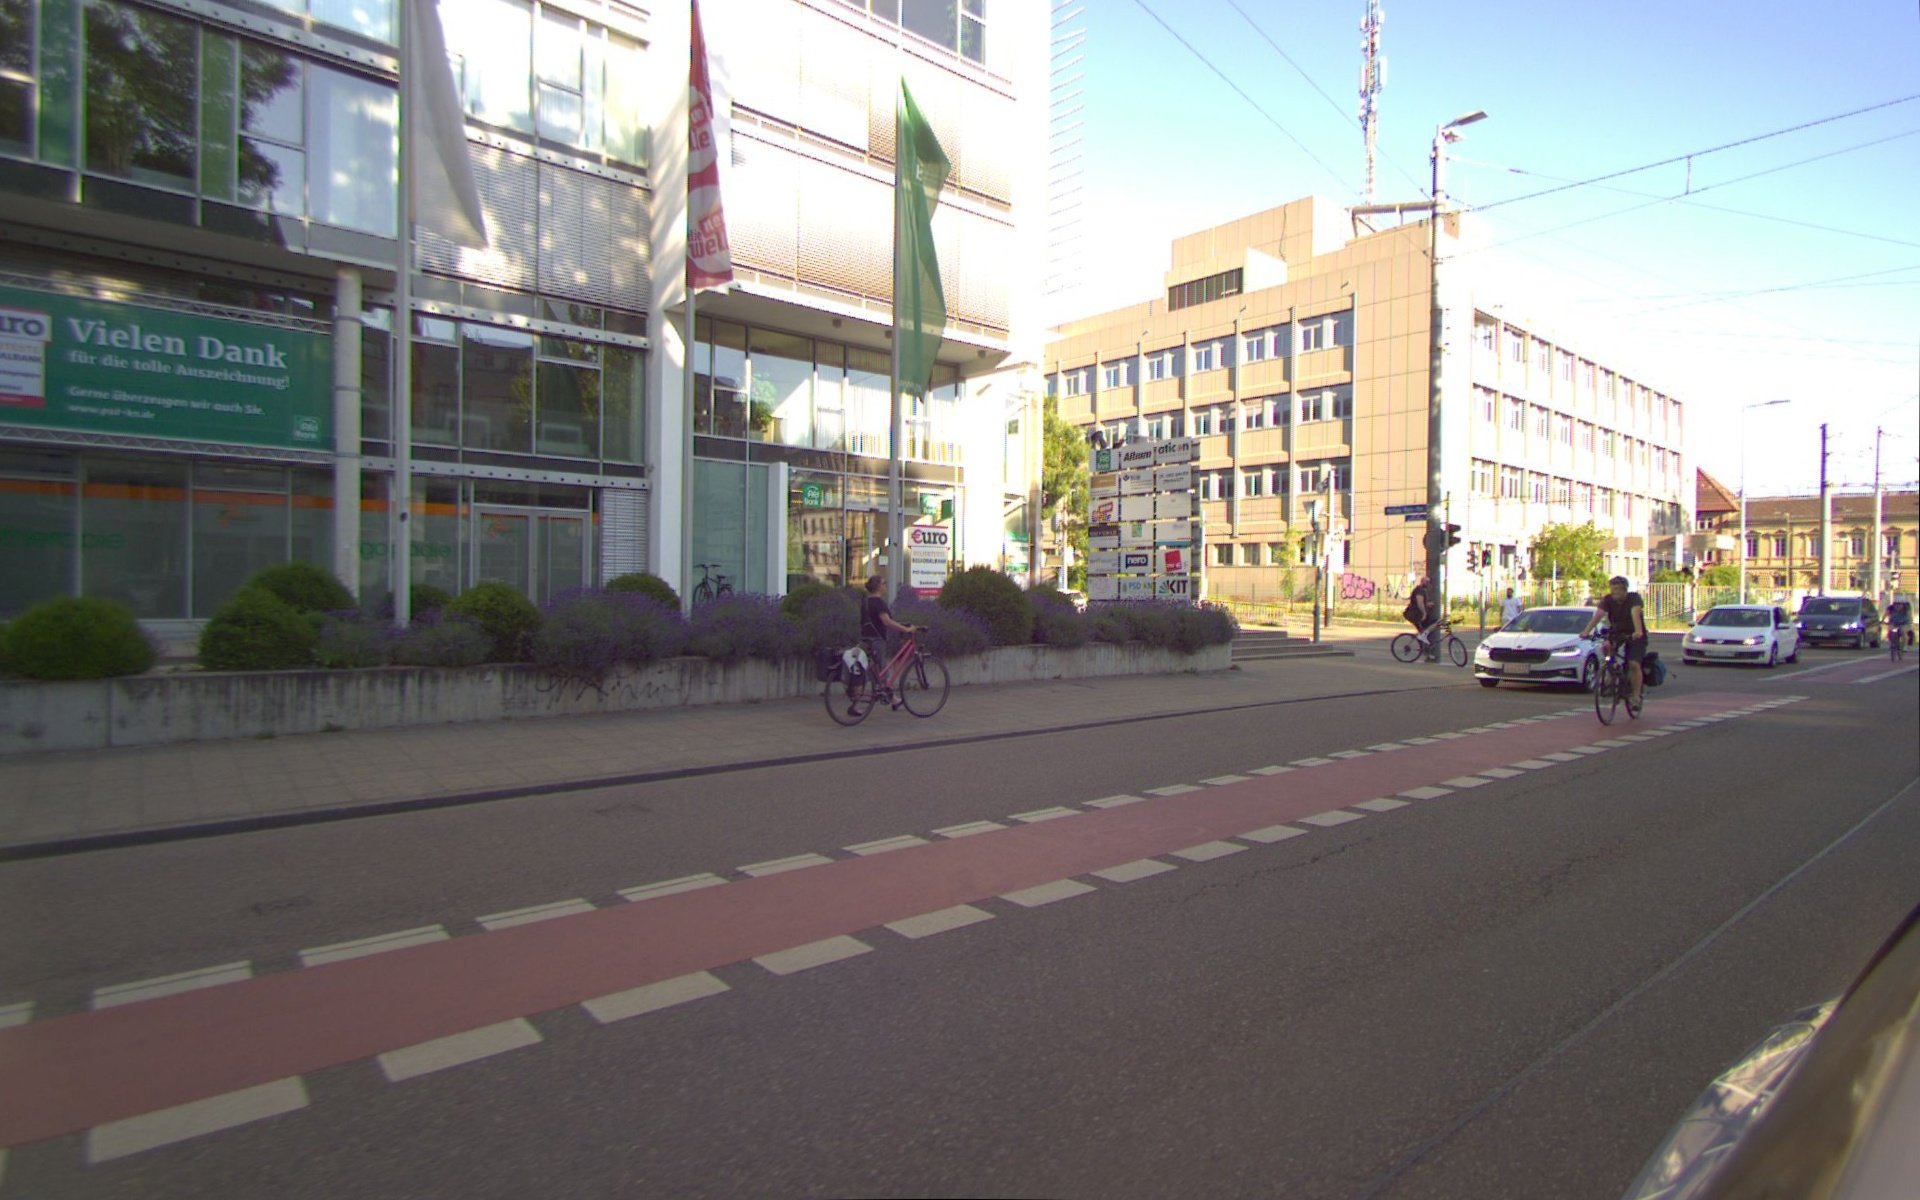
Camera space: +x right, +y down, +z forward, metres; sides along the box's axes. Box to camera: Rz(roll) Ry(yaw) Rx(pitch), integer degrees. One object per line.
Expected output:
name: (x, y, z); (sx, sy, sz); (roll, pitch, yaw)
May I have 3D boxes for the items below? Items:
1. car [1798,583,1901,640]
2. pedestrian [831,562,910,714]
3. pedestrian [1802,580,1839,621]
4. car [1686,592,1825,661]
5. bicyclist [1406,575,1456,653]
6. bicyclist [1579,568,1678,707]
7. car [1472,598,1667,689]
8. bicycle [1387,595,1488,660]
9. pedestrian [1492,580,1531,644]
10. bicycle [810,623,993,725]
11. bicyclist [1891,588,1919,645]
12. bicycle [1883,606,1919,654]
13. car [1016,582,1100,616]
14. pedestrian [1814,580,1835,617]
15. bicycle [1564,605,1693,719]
car: (27.988, 0.347, 31.806); (4.225, 1.664, 1.792); (0, -2, -40)
pedestrian: (-1.038, 0.414, 11.761); (0.640, 1.701, 0.647); (0, 1, -44)
pedestrian: (39.610, 0.019, 46.578); (1.064, 1.835, 0.735); (0, 0, 7)
car: (19.368, 0.608, 24.576); (4.225, 1.521, 1.792); (0, -2, -40)
bicyclist: (10.426, 0.298, 22.419); (0.851, 1.693, 0.649); (1, 1, 15)
bicyclist: (8.194, 0.433, 12.407); (1.068, 1.623, 0.652); (0, 1, -35)
car: (10.725, 0.676, 17.714); (4.002, 1.407, 1.704); (0, 0, -40)
bicycle: (10.521, 0.592, 22.357); (1.839, 1.296, 0.649); (3, 1, 14)
pedestrian: (16.276, 0.340, 29.840); (0.776, 1.846, 1.198); (1, 1, 39)
bicycle: (-0.611, 0.792, 11.392); (2.163, 0.986, 0.522); (0, 4, -42)
bicyclist: (24.447, 0.418, 25.908); (0.843, 1.440, 0.728); (0, 0, -36)
bicycle: (24.422, 0.744, 25.894); (2.264, 1.158, 0.765); (0, 1, -37)
car: (4.893, -0.088, 50.929); (1.965, 1.632, 3.995); (0, 1, -40)
pedestrian: (42.707, -0.082, 50.003); (0.755, 1.784, 0.593); (0, 0, -35)
bicycle: (8.219, 0.714, 12.414); (1.928, 1.297, 0.652); (0, 1, -35)
